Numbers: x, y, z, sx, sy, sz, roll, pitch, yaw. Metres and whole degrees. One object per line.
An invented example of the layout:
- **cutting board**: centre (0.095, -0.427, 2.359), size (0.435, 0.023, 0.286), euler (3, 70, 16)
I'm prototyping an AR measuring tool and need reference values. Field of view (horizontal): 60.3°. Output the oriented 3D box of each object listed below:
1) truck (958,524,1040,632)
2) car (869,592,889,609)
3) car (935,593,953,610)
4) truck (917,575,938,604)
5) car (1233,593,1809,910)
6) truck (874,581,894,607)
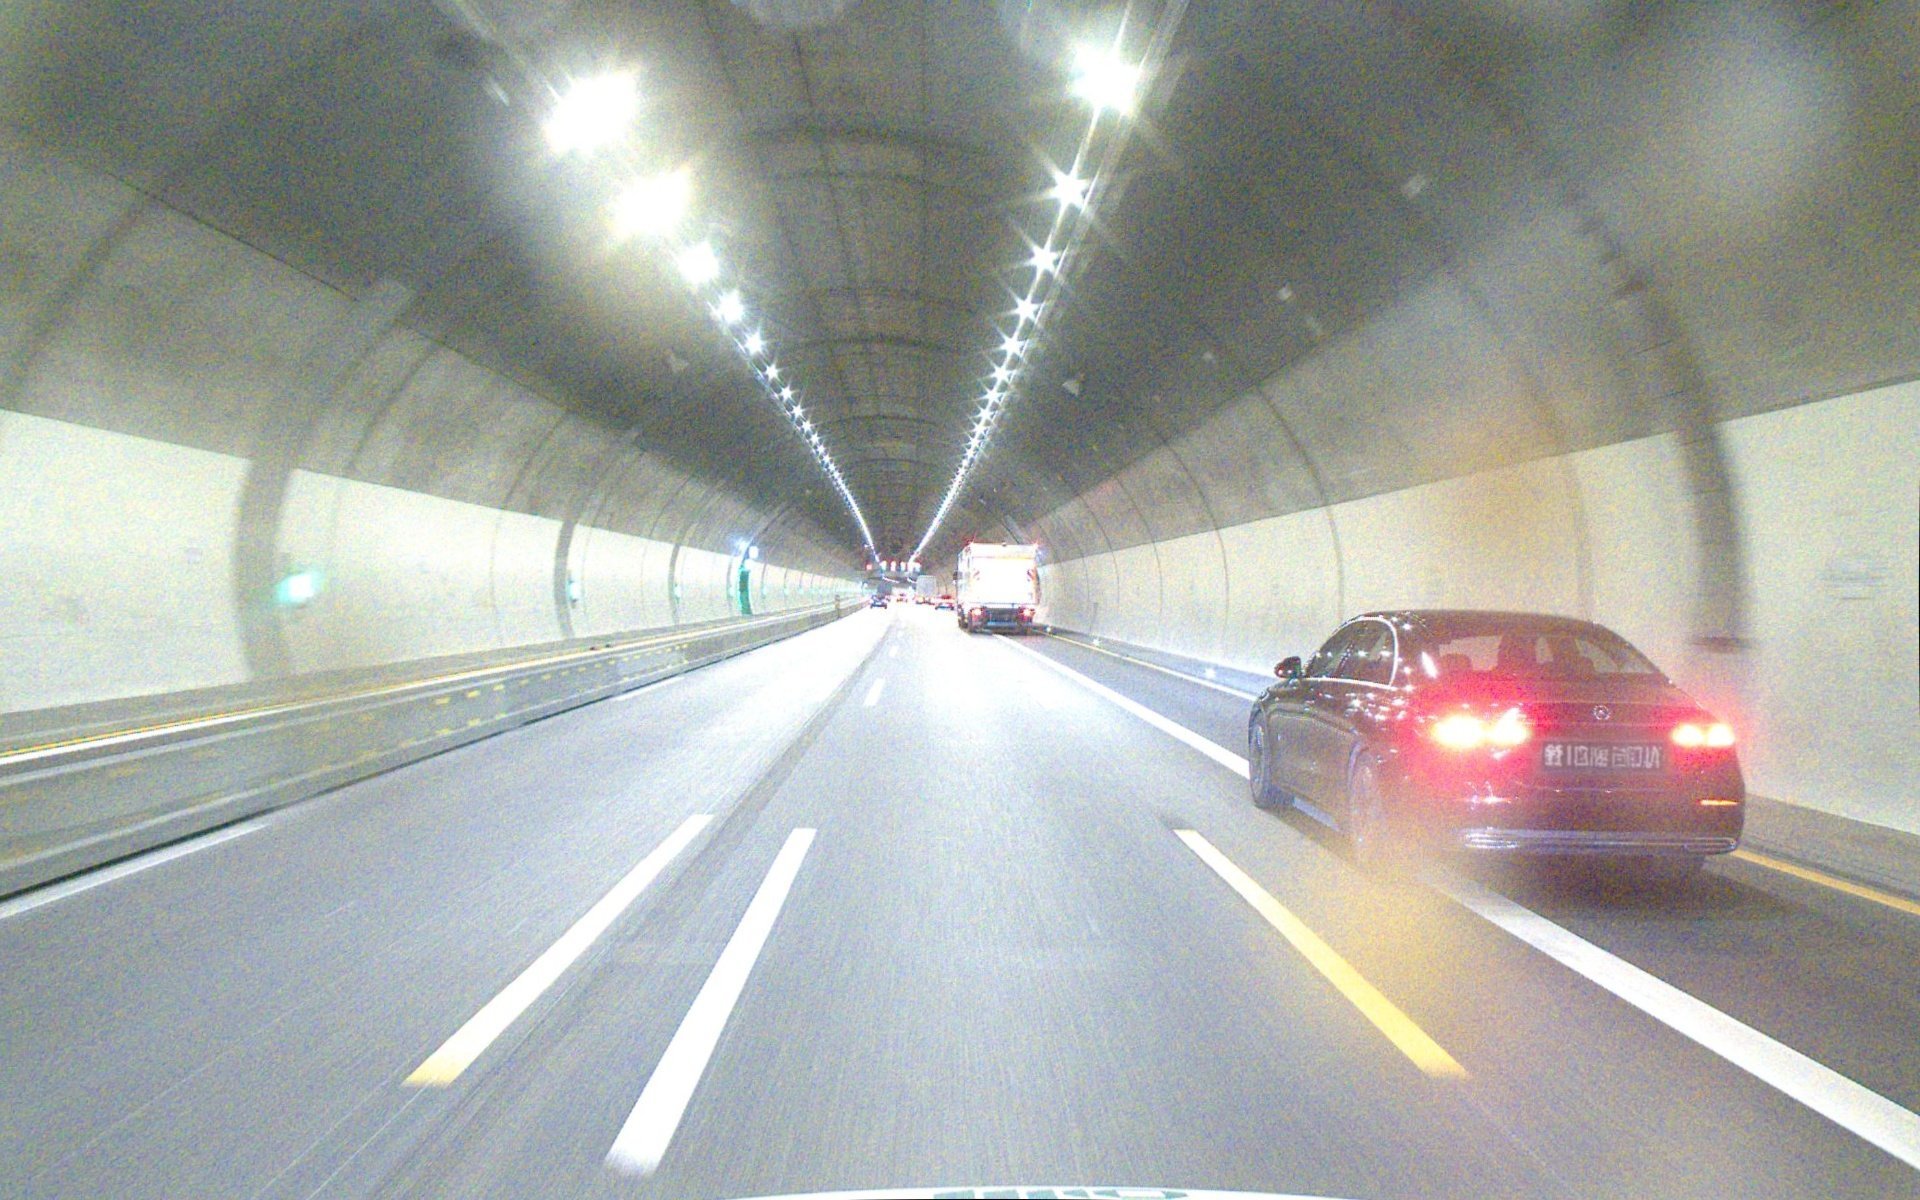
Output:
- **truck**: centre (1.539, -0.809, 67.354), size (3.028, 3.986, 10.368), euler (1, 0, 1)
- **car**: centre (-7.421, 0.034, 152.193), size (1.723, 1.486, 4.117), euler (1, 1, -2)
- **car**: centre (-1.519, 0.153, 155.348), size (1.704, 1.486, 3.960), euler (1, 1, -1)
- **truck**: centre (-4.624, -1.449, 236.786), size (3.004, 3.986, 10.365), euler (1, 0, -1)
- **car**: centre (3.115, 0.722, 10.438), size (1.886, 1.498, 4.953), euler (1, 0, -1)
- **truck**: centre (-12.042, -0.909, 261.081), size (3.005, 3.986, 10.362), euler (1, 0, -3)
